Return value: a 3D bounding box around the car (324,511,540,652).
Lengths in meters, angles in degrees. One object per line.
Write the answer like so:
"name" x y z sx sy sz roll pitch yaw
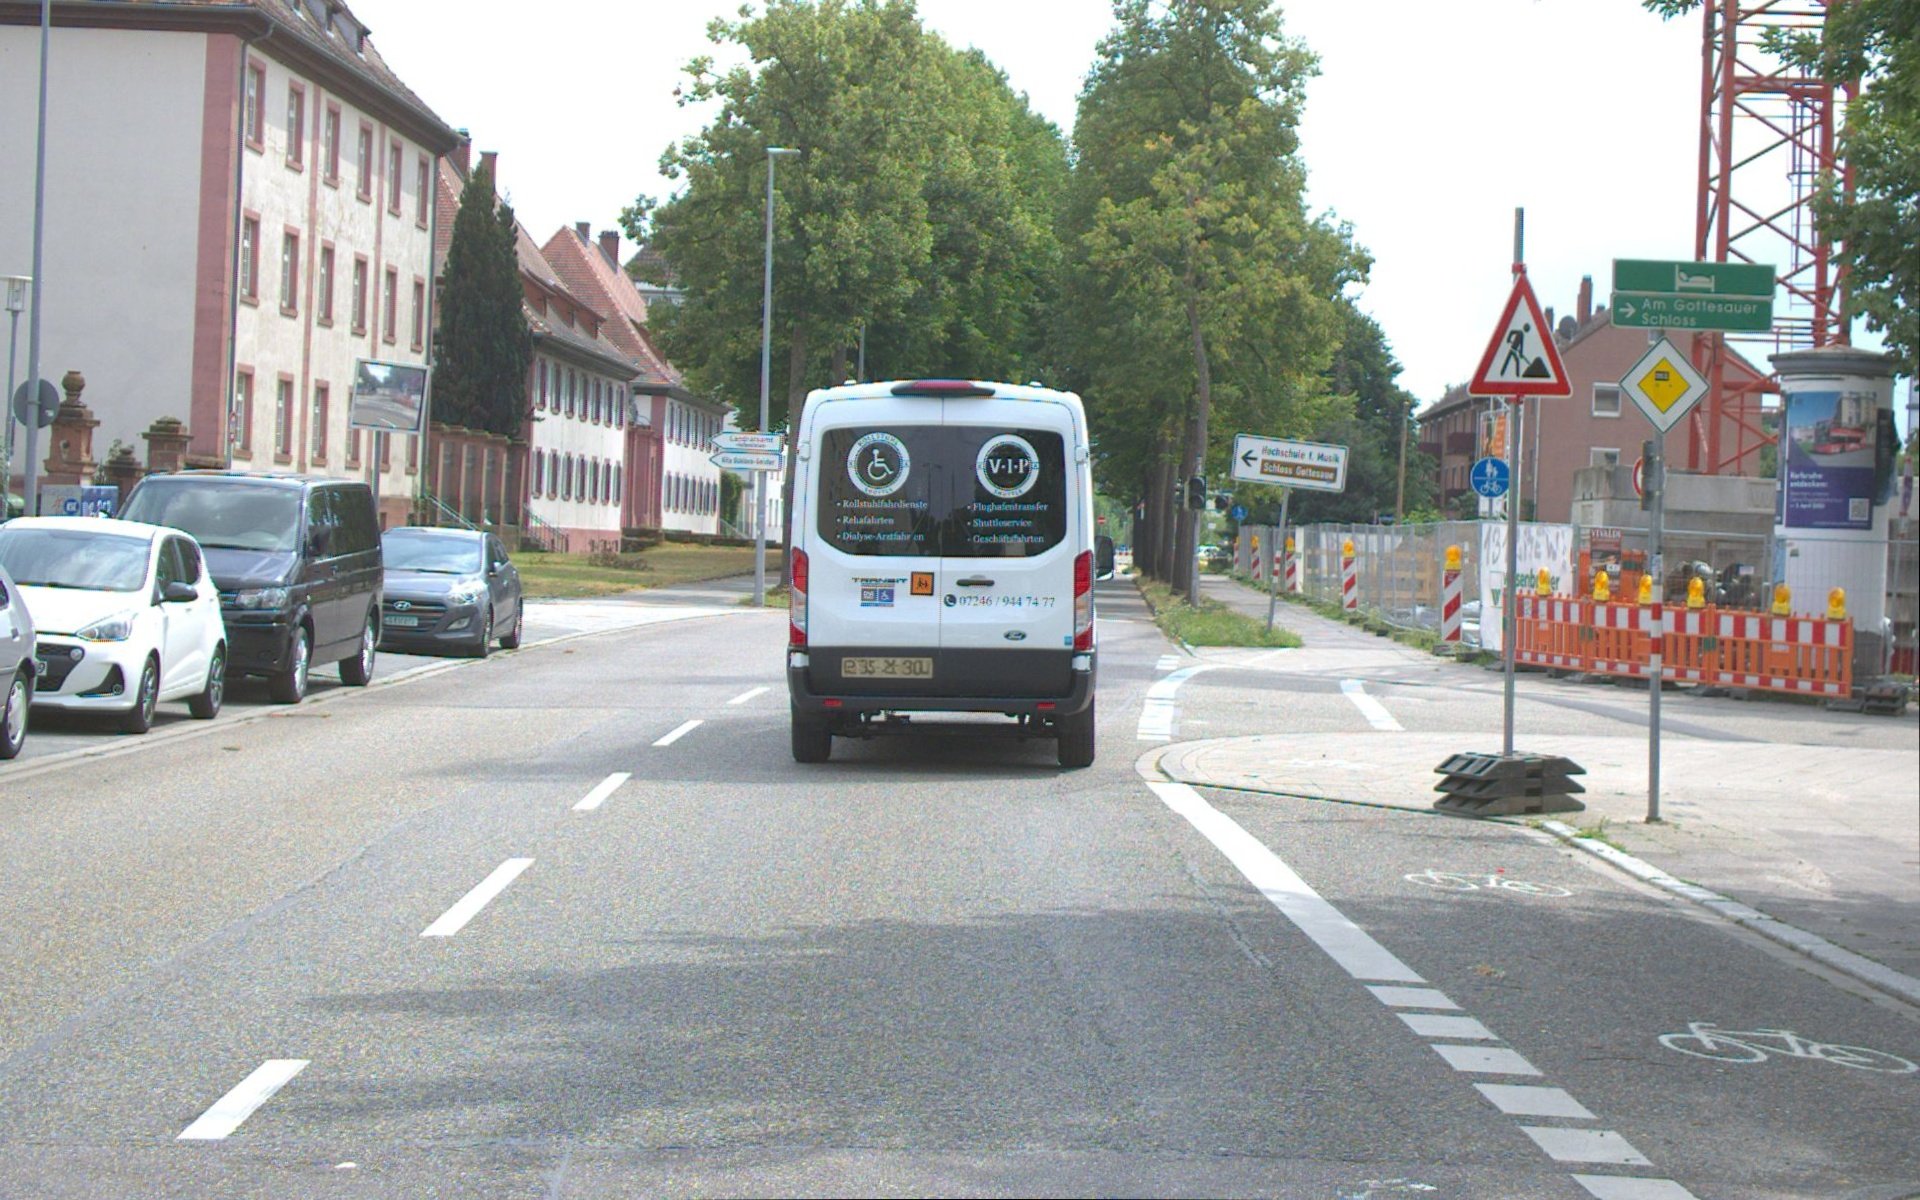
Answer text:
"car" -6.287 -0.263 41.357 1.822 1.468 4.298 5 1 0

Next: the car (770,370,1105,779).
"car" -0.171 -0.186 23.591 2.062 2.531 4.000 1 1 -1

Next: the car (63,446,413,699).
"car" -6.439 -0.290 31.227 1.949 1.997 4.844 4 1 1

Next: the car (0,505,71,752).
"car" -6.520 0.157 19.738 1.687 1.452 4.264 3 1 0

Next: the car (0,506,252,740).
"car" -6.563 0.108 25.812 1.653 1.524 3.765 4 2 0

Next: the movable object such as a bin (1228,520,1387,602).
"movable object such as a bin" 11.493 -1.299 113.503 4.686 2.581 3.130 1 1 17
